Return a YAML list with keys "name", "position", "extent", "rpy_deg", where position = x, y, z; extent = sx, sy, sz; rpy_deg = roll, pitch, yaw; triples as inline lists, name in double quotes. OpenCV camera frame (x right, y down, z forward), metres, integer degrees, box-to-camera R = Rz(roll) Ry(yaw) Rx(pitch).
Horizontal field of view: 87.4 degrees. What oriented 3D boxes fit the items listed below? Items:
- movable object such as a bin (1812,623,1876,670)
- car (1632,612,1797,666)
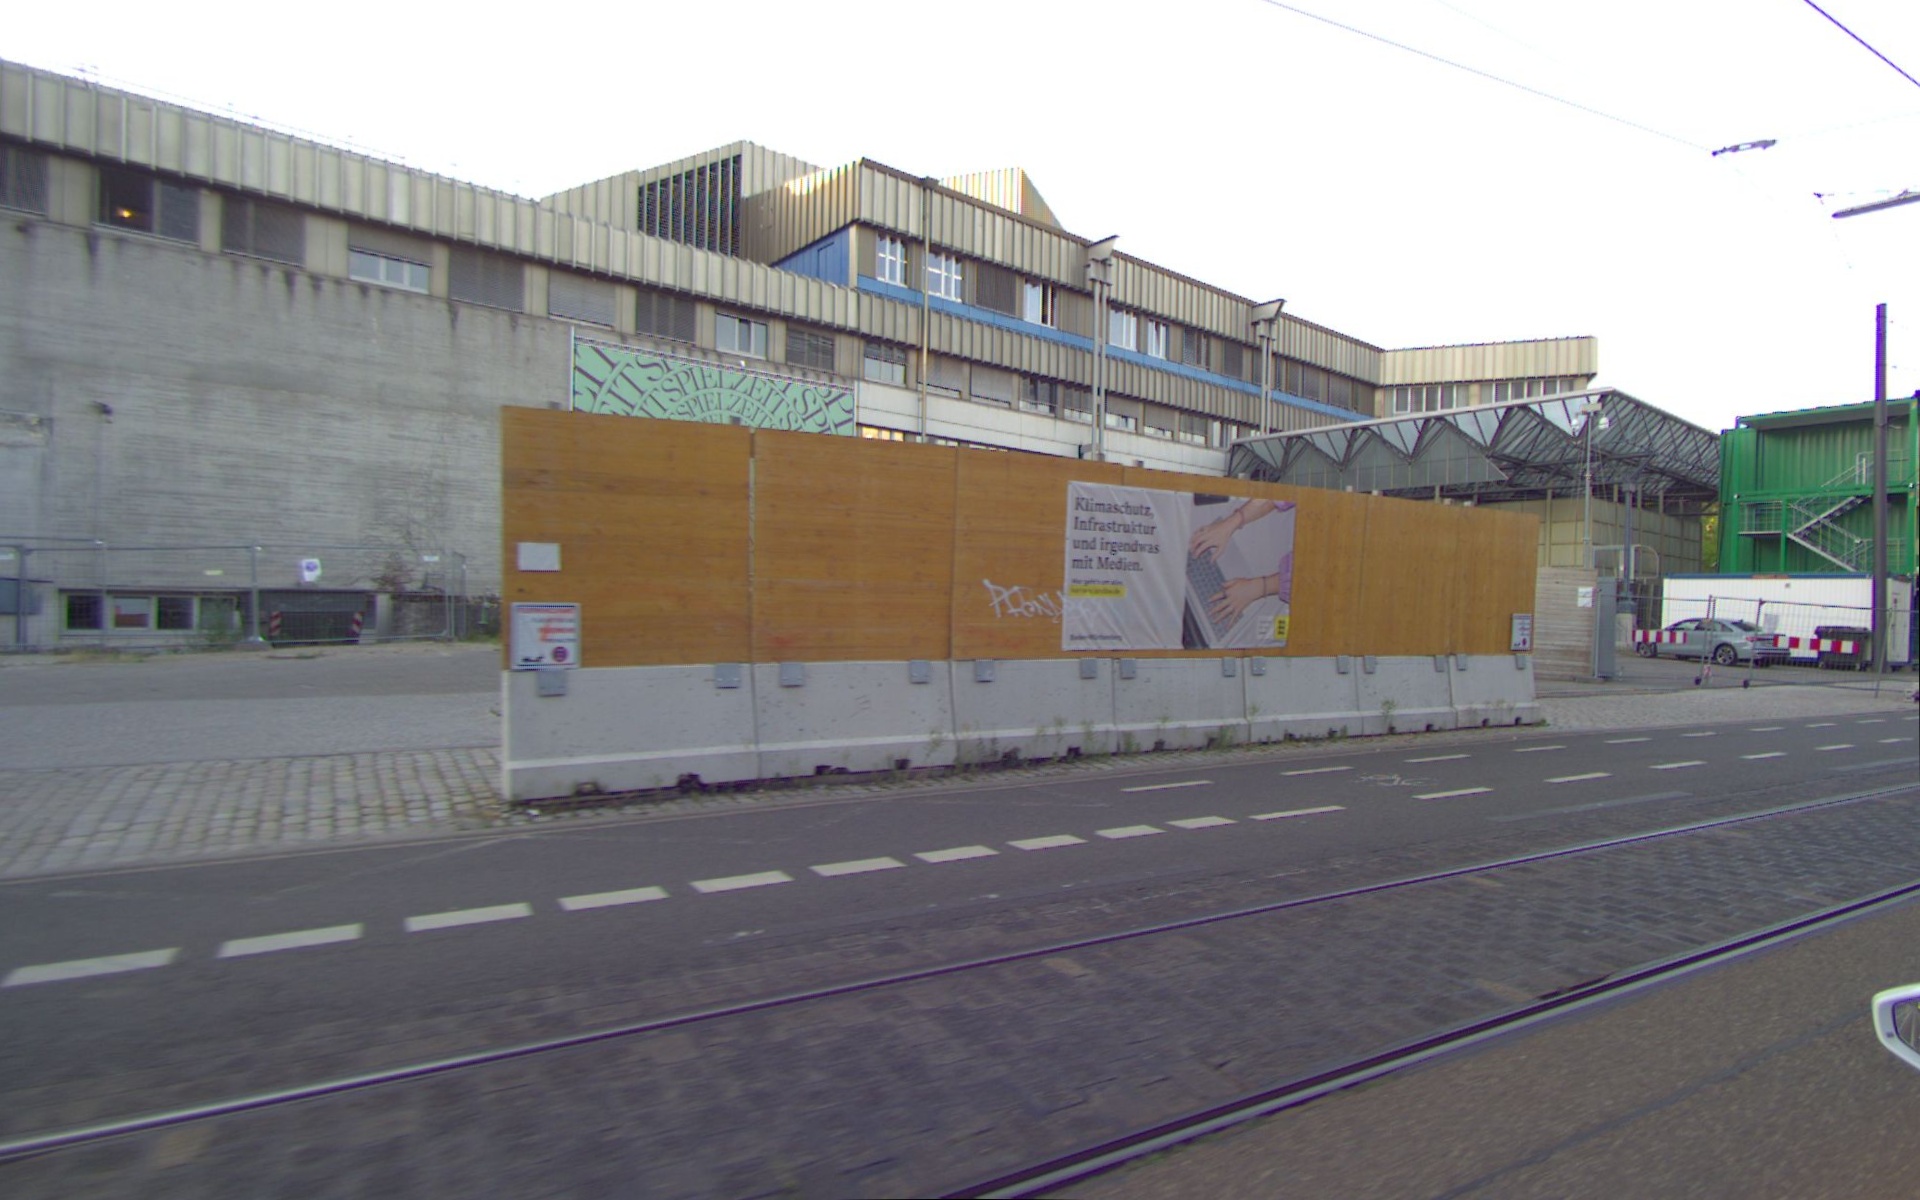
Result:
- name: "movable object such as a bin"
  position: [27.256, 1.430, 30.983]
  extent: [0.776, 1.388, 1.298]
  rpy_deg: [1, 0, -33]
- name: "car"
  position: [24.136, 1.222, 32.310]
  extent: [1.707, 1.421, 3.995]
  rpy_deg: [1, 2, -15]
